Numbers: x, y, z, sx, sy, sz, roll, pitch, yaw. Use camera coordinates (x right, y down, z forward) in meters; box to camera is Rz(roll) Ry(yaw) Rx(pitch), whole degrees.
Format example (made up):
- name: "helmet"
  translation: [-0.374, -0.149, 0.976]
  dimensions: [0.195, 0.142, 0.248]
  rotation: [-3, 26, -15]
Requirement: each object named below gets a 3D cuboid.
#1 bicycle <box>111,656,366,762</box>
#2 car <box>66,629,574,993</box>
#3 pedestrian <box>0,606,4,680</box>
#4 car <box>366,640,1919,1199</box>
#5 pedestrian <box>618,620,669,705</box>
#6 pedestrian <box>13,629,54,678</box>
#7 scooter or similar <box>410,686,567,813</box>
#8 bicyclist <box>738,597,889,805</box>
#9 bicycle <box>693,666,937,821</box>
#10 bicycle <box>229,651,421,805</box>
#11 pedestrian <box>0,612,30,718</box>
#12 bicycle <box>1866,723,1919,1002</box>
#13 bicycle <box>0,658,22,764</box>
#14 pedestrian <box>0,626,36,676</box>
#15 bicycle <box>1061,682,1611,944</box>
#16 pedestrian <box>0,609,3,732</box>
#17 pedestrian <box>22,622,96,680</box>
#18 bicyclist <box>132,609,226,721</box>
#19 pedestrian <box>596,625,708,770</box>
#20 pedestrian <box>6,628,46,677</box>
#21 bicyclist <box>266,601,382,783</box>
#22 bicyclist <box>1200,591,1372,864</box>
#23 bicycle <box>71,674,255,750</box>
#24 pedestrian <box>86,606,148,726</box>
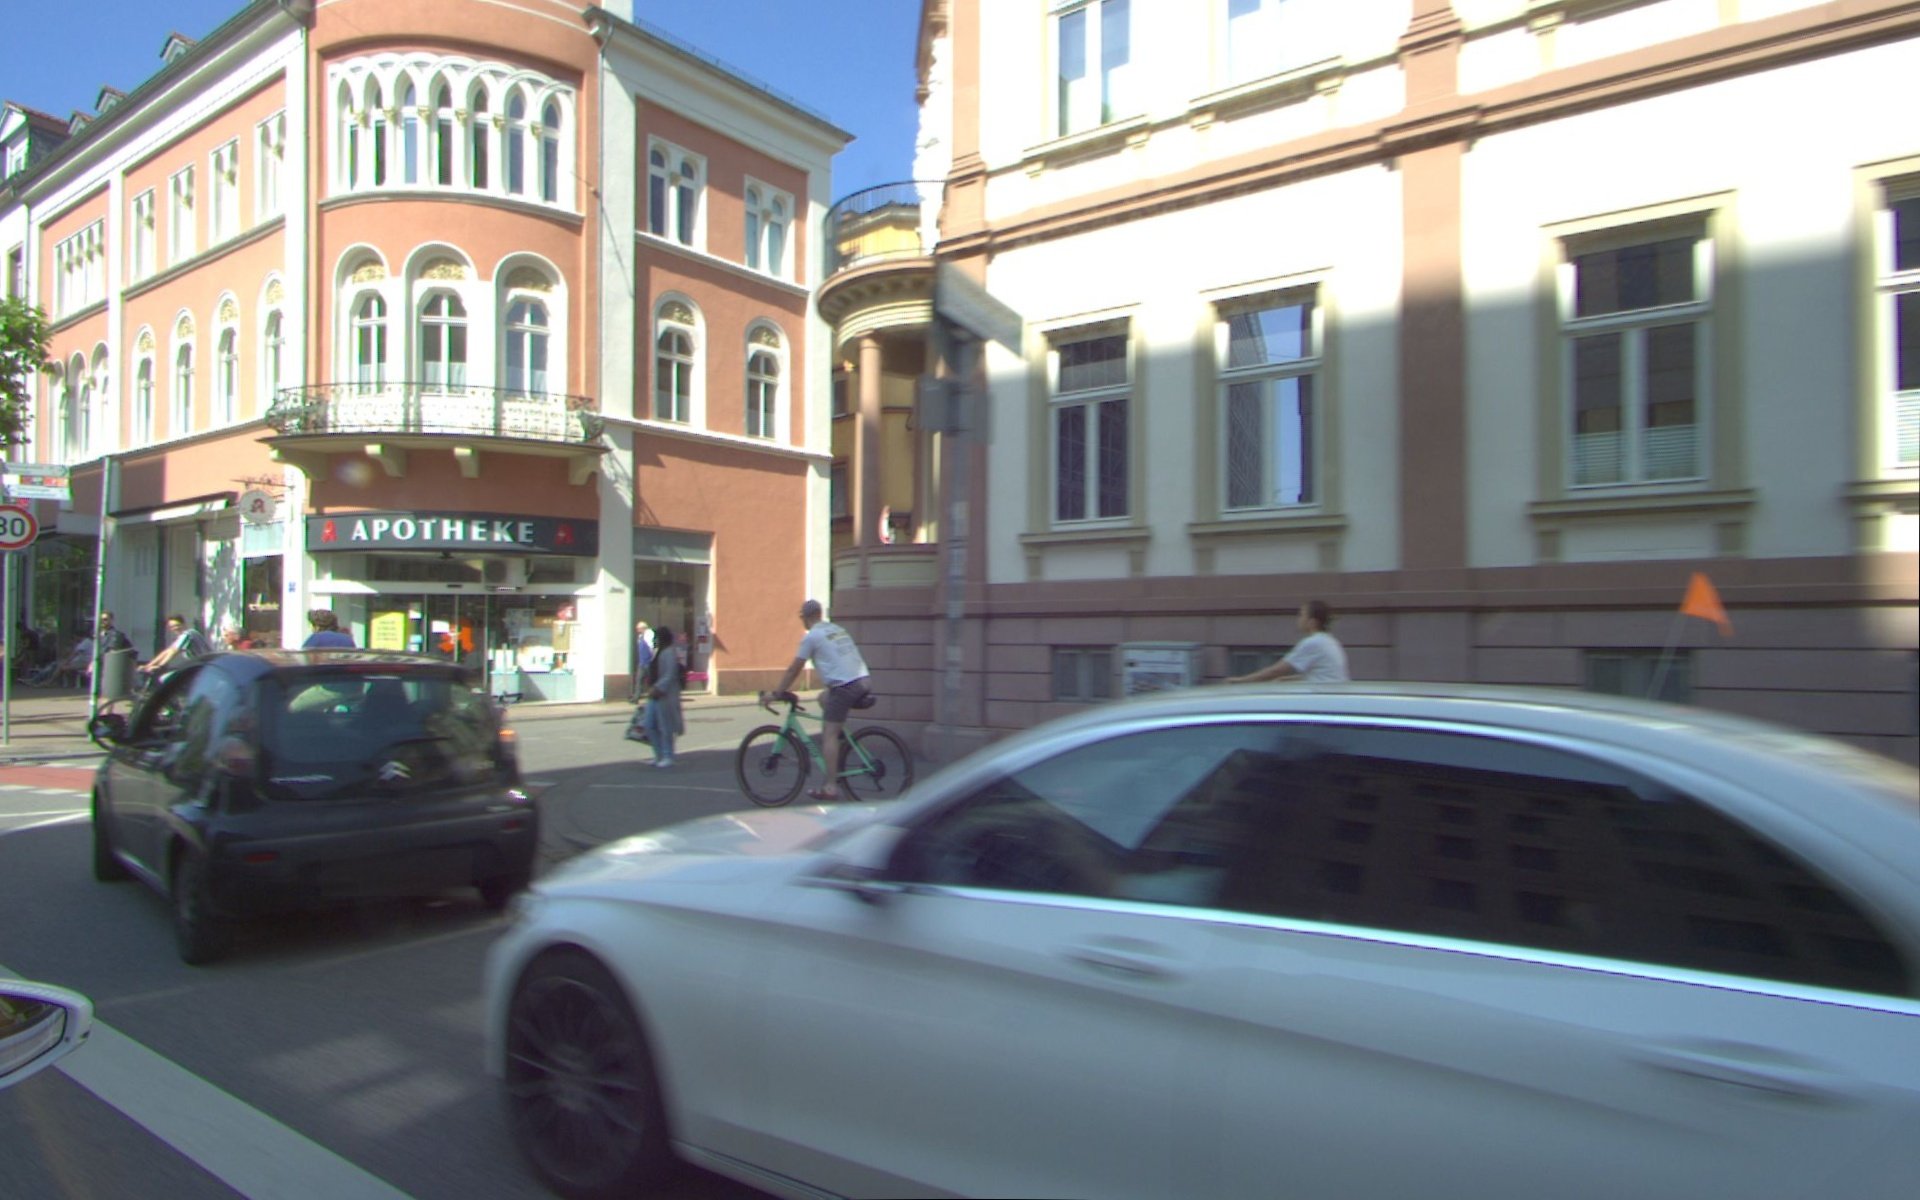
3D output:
- name: "bicycle"
  translation: [-8.945, 1.304, 12.580]
  dimensions: [0.618, 1.141, 2.564]
  rotation: [1, -2, 29]
- name: "car"
  translation: [-3.985, 0.974, 5.998]
  dimensions: [3.691, 1.496, 1.621]
  rotation: [-3, -4, 42]
- name: "pedestrian"
  translation: [-16.480, 0.986, 16.545]
  dimensions: [0.631, 1.817, 0.787]
  rotation: [0, -2, 30]
- name: "car"
  translation: [0.714, 0.903, 2.704]
  dimensions: [4.815, 1.442, 1.951]
  rotation: [0, -4, 32]
- name: "pedestrian"
  translation: [-6.510, 1.275, 20.579]
  dimensions: [0.781, 1.680, 0.636]
  rotation: [3, 0, 44]
- name: "pedestrian"
  translation: [-24.598, 1.420, 26.593]
  dimensions: [0.600, 1.269, 0.638]
  rotation: [-1, -1, 30]
- name: "scooter or similar"
  translation: [-4.459, 1.384, 9.500]
  dimensions: [1.106, 1.074, 0.784]
  rotation: [-1, -1, 18]
- name: "bicyclist"
  translation: [-1.254, 0.826, 8.608]
  dimensions: [1.138, 1.684, 0.572]
  rotation: [1, 1, 20]
- name: "bicycle"
  translation: [-1.258, 1.187, 8.614]
  dimensions: [2.041, 1.142, 0.572]
  rotation: [1, 1, 20]
- name: "bicycle"
  translation: [-6.300, 1.196, 9.884]
  dimensions: [2.250, 1.285, 0.730]
  rotation: [1, -2, 35]
- name: "pedestrian"
  translation: [-15.791, 1.049, 16.262]
  dimensions: [0.631, 1.711, 0.787]
  rotation: [0, -2, 30]
- name: "bicycle"
  translation: [5.144, 1.171, 4.123]
  dimensions: [2.006, 1.142, 0.733]
  rotation: [0, 0, 35]
- name: "bicycle"
  translation: [-11.481, 1.210, 11.224]
  dimensions: [2.048, 1.140, 0.699]
  rotation: [0, -3, 27]
- name: "pedestrian"
  translation: [-26.010, 1.403, 27.569]
  dimensions: [0.524, 1.349, 0.680]
  rotation: [0, -2, 30]
- name: "bicycle"
  translation: [2.227, 1.197, 6.379]
  dimensions: [3.196, 1.142, 0.746]
  rotation: [1, 0, 35]
- name: "pedestrian"
  translation: [-13.971, 1.000, 13.996]
  dimensions: [0.778, 1.731, 0.638]
  rotation: [-3, -1, 30]
- name: "pedestrian"
  translation: [-22.823, 1.288, 25.381]
  dimensions: [0.778, 1.440, 1.231]
  rotation: [-1, -2, 30]
- name: "bicyclist"
  translation: [-10.338, 0.845, 13.261]
  dimensions: [0.494, 1.429, 0.857]
  rotation: [0, -1, 34]
- name: "pedestrian"
  translation: [-3.665, 1.138, 11.981]
  dimensions: [0.957, 1.632, 0.903]
  rotation: [-3, -1, 5]
- name: "pedestrian"
  translation: [-25.098, 1.406, 26.906]
  dimensions: [0.524, 1.269, 0.680]
  rotation: [0, 0, 30]
- name: "bicyclist"
  translation: [-6.251, 0.873, 9.846]
  dimensions: [0.764, 1.695, 0.729]
  rotation: [-1, -1, 35]
- name: "bicyclist"
  translation: [2.107, 0.756, 6.465]
  dimensions: [0.832, 1.595, 0.744]
  rotation: [3, 2, 33]
- name: "bicycle"
  translation: [-10.407, 1.436, 13.146]
  dimensions: [0.494, 0.855, 1.818]
  rotation: [0, -2, 33]
- name: "pedestrian"
  translation: [-13.511, 1.056, 16.052]
  dimensions: [0.608, 1.865, 0.635]
  rotation: [-2, -4, 45]
